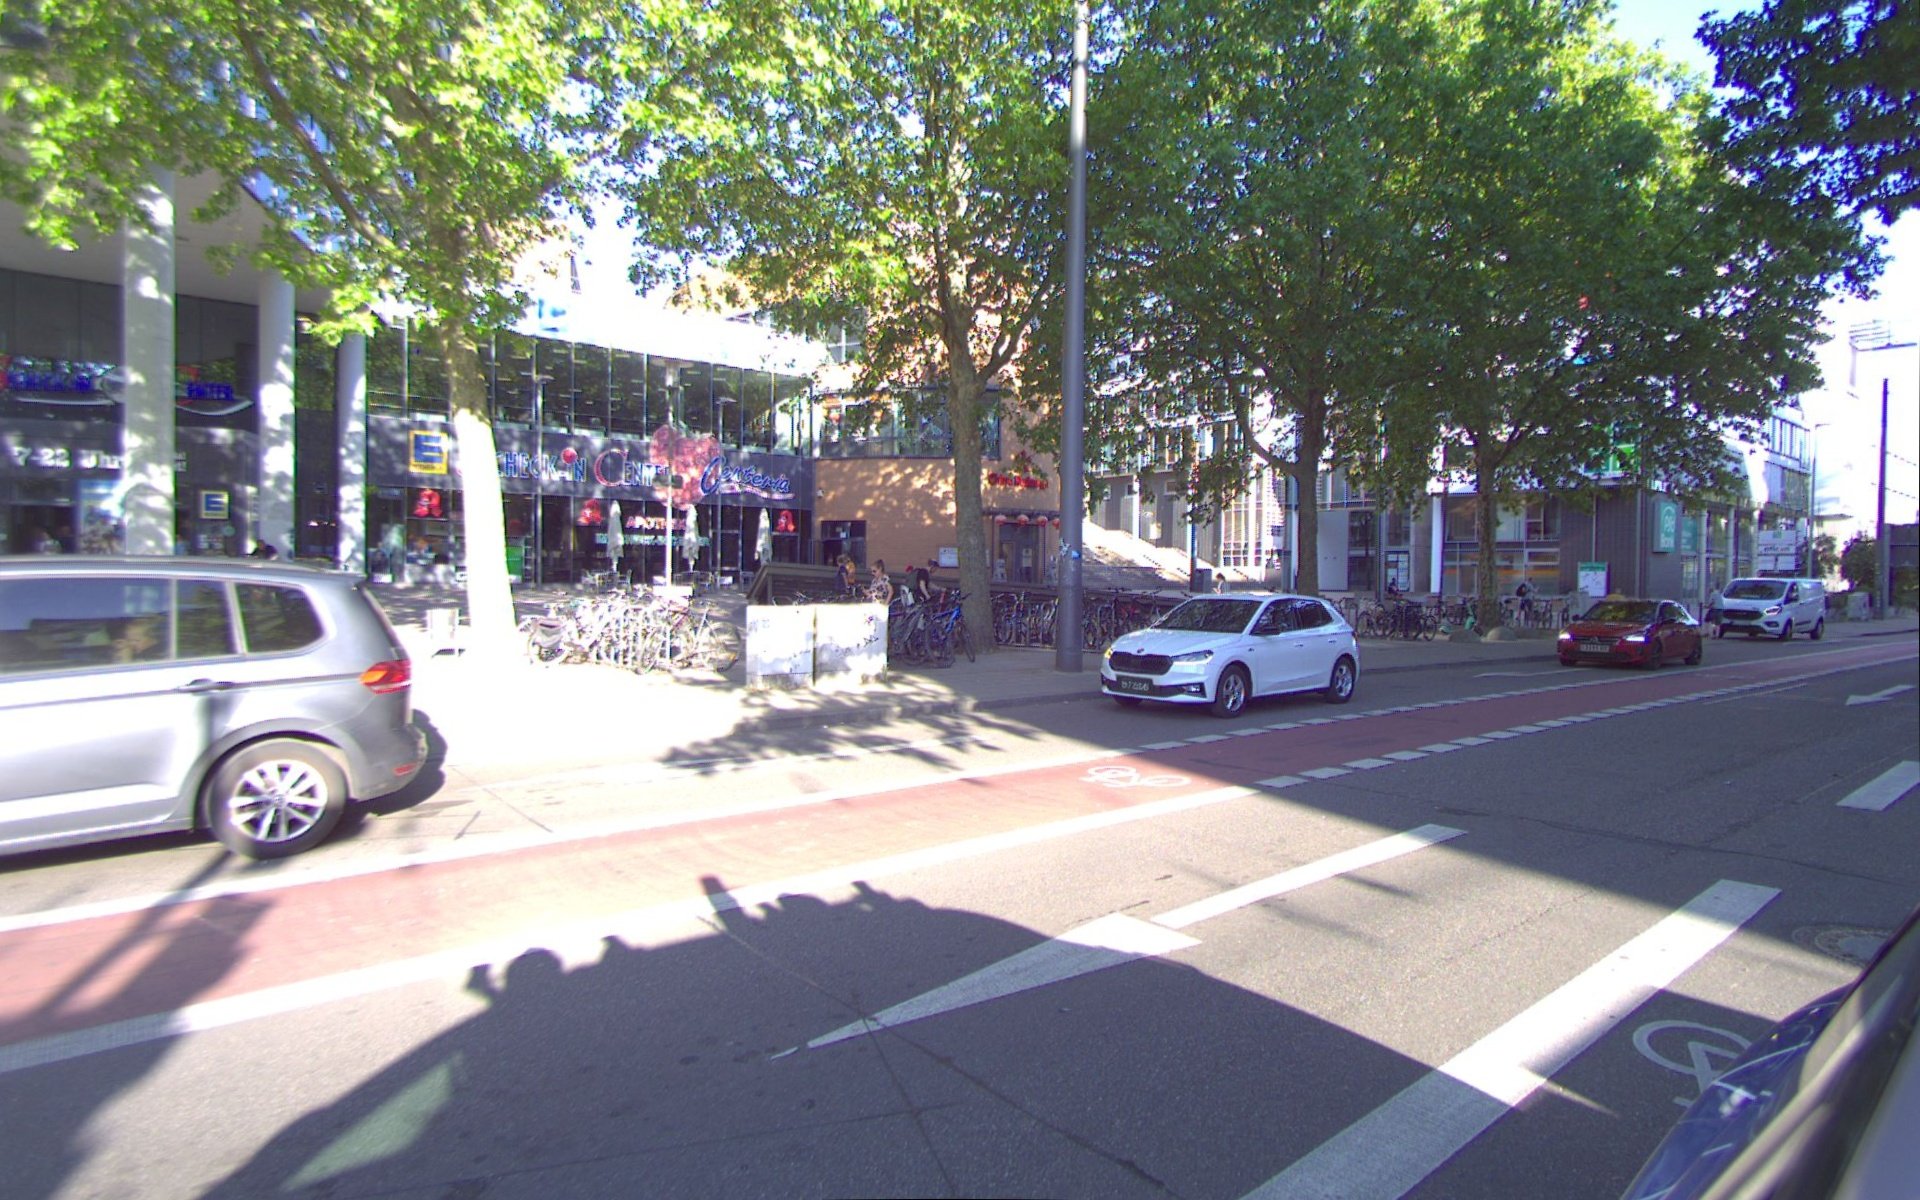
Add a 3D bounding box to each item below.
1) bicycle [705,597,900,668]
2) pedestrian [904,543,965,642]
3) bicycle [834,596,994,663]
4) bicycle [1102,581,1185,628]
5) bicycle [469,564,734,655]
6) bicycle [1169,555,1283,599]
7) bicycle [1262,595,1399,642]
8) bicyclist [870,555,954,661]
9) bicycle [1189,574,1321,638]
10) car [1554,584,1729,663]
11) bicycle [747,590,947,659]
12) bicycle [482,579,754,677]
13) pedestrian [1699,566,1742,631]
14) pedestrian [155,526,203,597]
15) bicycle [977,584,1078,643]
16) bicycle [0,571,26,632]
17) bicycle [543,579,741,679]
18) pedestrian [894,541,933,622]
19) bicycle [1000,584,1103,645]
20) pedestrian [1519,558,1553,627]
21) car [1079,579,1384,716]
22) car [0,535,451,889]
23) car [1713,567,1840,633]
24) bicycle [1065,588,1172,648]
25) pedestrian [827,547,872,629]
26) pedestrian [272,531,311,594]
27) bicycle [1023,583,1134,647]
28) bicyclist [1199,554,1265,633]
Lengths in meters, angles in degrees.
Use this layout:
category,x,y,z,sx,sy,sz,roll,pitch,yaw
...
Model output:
category,x,y,z,sx,sy,sz,roll,pitch,yaw
bicycle,-2.717,0.523,17.892,3.353,1.013,1.051,-1,6,-41
pedestrian,-0.538,-0.182,21.529,0.922,2.038,1.085,1,1,24
bicycle,-0.708,0.445,16.469,2.591,0.960,0.924,-1,1,-41
bicycle,5.009,0.105,27.514,2.653,1.215,0.698,-1,1,-41
bicycle,-5.416,0.192,15.589,3.743,1.236,0.729,3,-2,-35
bicycle,7.071,-0.643,27.178,1.124,1.097,3.343,0,3,-23
bicycle,8.806,0.416,24.044,3.136,1.038,0.979,-1,1,-18
bicyclist,-0.783,0.111,16.418,1.005,1.640,0.902,-1,0,-40
bicycle,7.201,0.113,24.678,3.156,1.503,0.896,0,1,-19
car,14.382,0.439,21.304,4.118,1.508,1.836,-1,0,-37
bicycle,-1.833,0.369,17.031,3.353,1.014,1.050,-1,1,-41
bicycle,-4.968,0.350,15.021,3.744,1.235,0.758,-2,1,-35
pedestrian,24.379,-0.037,32.442,0.959,2.039,0.816,1,-1,-31
pedestrian,-22.544,-1.105,29.219,0.815,2.039,0.827,-1,0,-15
bicycle,1.442,0.256,21.352,2.251,1.176,0.657,-1,1,-38
bicycle,-17.651,0.018,17.497,2.149,1.026,0.603,1,3,-16
bicycle,-4.404,0.356,14.134,2.504,1.235,0.758,-2,1,-35
pedestrian,-1.320,-0.519,28.585,0.884,2.261,0.845,-1,0,-19
bicycle,1.892,0.267,20.733,2.263,1.176,0.671,-1,1,-38
pedestrian,22.486,-0.296,39.540,0.967,2.681,0.897,-1,0,18
car,3.624,0.487,13.157,4.121,1.508,1.834,-1,1,-40
car,-5.202,0.517,5.235,4.316,1.656,1.708,-1,1,-43
car,26.692,-0.039,33.007,5.809,1.989,1.933,-1,1,-38
bicycle,3.075,0.317,19.461,2.296,1.073,0.682,-1,2,-39
pedestrian,-3.158,-0.348,29.016,1.195,2.276,1.052,-1,0,-3
pedestrian,-19.184,-1.073,29.061,0.820,1.765,0.647,0,1,-22
bicycle,2.381,0.265,20.105,2.355,1.176,0.750,-1,1,-39
bicyclist,7.204,-0.198,26.833,1.132,2.038,1.301,-1,1,-24
